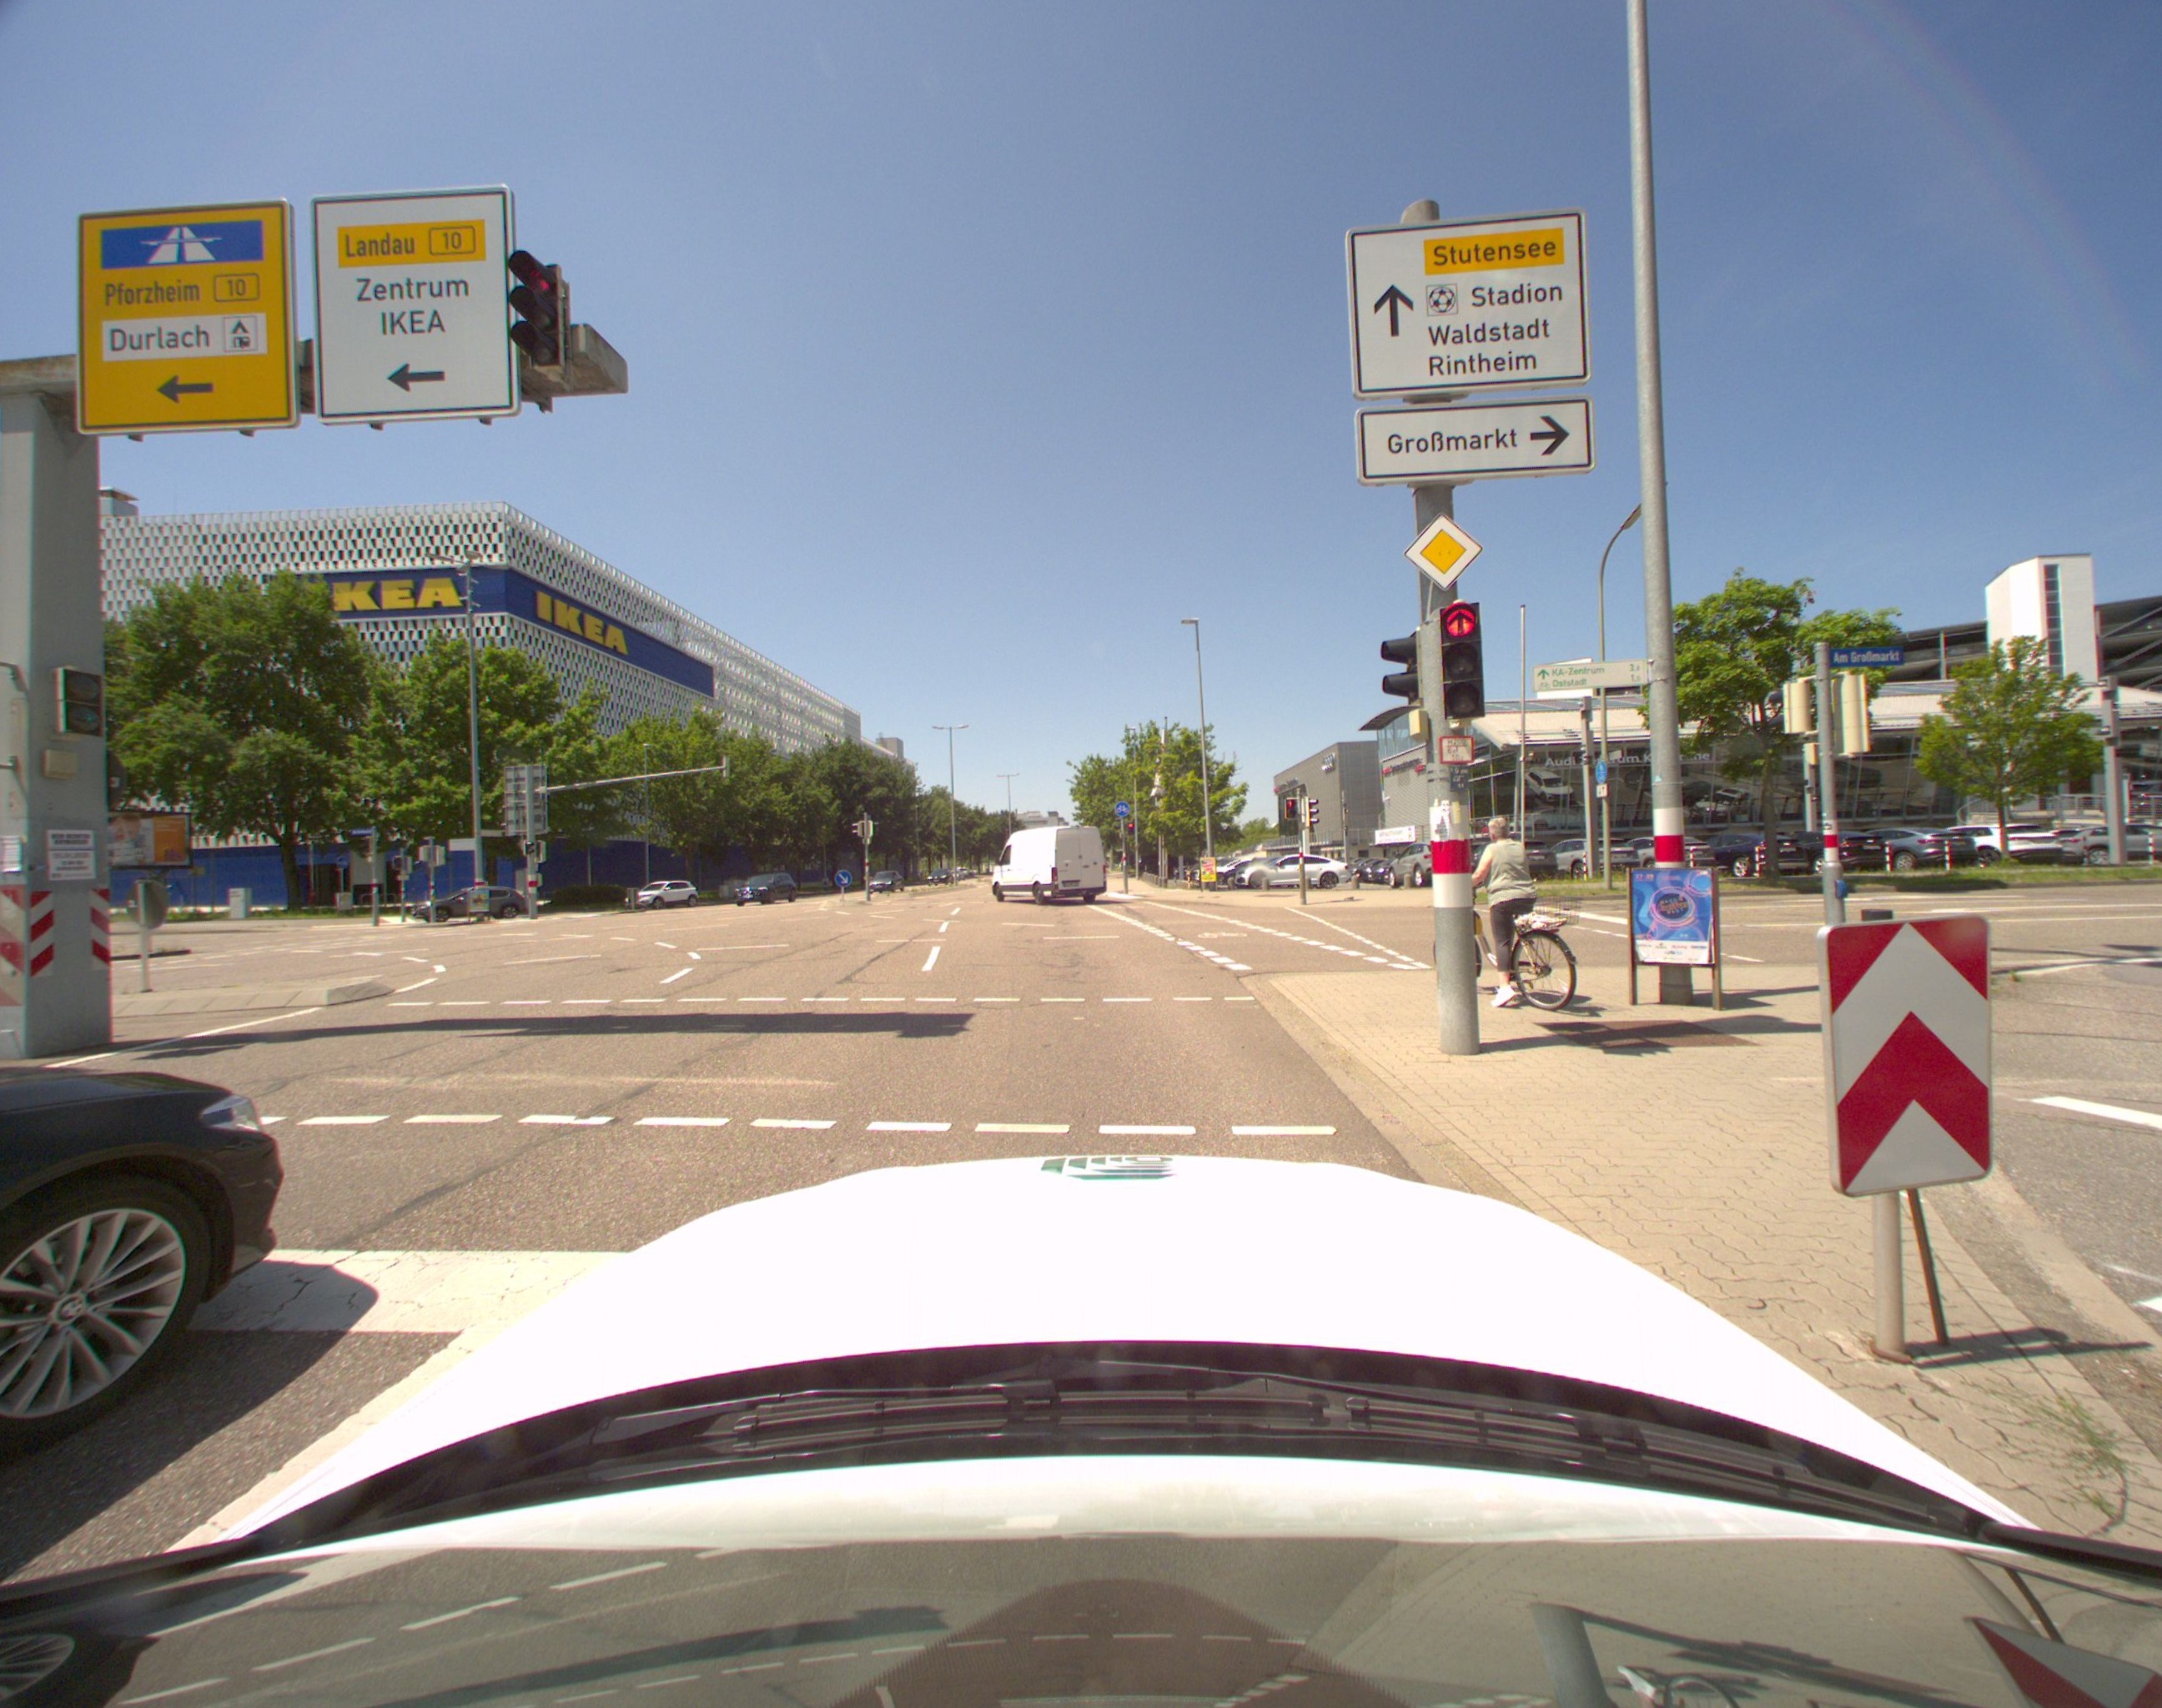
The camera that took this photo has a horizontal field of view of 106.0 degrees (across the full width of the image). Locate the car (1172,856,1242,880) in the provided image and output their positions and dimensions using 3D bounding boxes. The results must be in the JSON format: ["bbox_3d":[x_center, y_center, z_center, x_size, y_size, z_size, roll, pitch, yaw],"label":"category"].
[{"bbox_3d":[9.045,0.981,58.757,4.726,1.457,2.000,-3,0,0],"label":"car"}]

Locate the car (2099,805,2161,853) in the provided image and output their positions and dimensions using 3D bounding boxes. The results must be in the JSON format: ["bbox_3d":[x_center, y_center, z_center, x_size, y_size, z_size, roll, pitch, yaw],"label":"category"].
[{"bbox_3d":[47.346,-1.138,35.252,3.728,2.014,1.866,-2,-1,11],"label":"car"}]

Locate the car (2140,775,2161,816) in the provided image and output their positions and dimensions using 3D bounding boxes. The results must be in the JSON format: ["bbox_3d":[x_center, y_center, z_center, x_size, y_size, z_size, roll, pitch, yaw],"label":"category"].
[{"bbox_3d":[55.056,-3.012,39.531,1.989,2.013,3.995,-2,-1,-4],"label":"car"}]

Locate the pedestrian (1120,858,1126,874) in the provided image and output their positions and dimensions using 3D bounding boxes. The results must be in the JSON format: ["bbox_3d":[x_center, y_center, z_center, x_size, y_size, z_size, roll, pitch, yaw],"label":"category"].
[{"bbox_3d":[5.273,1.452,102.004,0.660,1.963,0.759,-2,-1,1],"label":"pedestrian"}]

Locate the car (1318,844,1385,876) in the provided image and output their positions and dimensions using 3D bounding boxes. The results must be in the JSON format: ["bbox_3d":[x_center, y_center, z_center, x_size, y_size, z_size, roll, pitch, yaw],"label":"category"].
[{"bbox_3d":[18.741,0.418,56.499,3.971,2.014,2.001,-2,-1,2],"label":"car"}]

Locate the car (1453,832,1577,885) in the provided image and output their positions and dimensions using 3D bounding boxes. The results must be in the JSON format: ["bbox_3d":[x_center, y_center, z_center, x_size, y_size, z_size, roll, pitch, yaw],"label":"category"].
[{"bbox_3d":[15.093,0.143,28.649,1.986,1.639,4.559,-2,0,2],"label":"car"}]

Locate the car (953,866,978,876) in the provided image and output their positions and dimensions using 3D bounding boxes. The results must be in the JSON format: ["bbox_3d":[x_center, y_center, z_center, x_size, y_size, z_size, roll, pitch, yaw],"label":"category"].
[{"bbox_3d":[-21.232,3.100,149.668,3.985,1.810,2.009,0,0,16],"label":"car"}]

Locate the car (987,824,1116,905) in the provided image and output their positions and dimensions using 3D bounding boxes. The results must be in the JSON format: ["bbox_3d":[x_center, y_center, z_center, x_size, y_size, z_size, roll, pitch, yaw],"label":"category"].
[{"bbox_3d":[-1.190,0.373,28.278,2.108,2.534,5.747,-1,-1,-28],"label":"car"}]

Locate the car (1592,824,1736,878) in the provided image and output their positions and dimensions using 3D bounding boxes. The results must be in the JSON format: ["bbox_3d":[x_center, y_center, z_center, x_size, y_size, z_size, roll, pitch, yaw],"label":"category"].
[{"bbox_3d":[20.341,-0.105,28.672,1.878,1.639,4.526,-3,0,2],"label":"car"}]

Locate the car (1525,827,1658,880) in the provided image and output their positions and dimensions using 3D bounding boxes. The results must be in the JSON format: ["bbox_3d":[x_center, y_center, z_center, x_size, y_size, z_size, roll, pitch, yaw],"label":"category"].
[{"bbox_3d":[17.944,-0.017,28.895,1.986,1.639,4.443,-3,0,2],"label":"car"}]

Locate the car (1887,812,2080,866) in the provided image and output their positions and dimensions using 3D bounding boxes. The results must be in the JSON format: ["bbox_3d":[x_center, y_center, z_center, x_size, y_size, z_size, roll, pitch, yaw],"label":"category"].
[{"bbox_3d":[31.250,-0.491,28.441,1.821,1.639,4.476,-3,0,2],"label":"car"}]

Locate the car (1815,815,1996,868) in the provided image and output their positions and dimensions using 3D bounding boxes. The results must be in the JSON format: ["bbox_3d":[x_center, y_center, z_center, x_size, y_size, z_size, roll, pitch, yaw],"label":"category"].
[{"bbox_3d":[28.569,-0.403,28.463,1.821,1.639,4.476,-3,0,2],"label":"car"}]

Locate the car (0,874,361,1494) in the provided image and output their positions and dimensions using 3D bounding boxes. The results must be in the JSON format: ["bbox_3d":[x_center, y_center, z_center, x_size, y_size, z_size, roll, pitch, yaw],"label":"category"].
[{"bbox_3d":[-3.528,0.816,0.607,1.793,1.466,4.623,-1,0,1],"label":"car"}]

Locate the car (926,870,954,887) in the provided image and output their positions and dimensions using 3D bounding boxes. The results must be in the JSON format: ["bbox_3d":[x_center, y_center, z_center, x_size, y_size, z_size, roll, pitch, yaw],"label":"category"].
[{"bbox_3d":[-12.809,2.225,74.085,1.678,1.411,3.666,-3,-1,2],"label":"car"}]

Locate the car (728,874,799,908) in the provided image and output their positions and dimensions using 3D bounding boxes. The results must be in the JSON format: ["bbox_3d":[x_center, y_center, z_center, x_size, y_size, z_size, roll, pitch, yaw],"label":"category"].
[{"bbox_3d":[-16.753,1.925,43.211,1.868,1.598,4.498,-3,-1,2],"label":"car"}]

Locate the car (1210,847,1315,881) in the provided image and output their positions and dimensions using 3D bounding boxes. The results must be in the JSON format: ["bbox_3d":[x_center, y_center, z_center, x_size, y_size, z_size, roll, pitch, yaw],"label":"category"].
[{"bbox_3d":[8.804,0.459,39.868,4.721,1.457,2.002,-2,0,3],"label":"car"}]

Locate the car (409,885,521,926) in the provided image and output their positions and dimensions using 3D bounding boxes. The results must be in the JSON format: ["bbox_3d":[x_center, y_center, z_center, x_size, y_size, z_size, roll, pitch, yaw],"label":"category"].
[{"bbox_3d":[-27.952,2.306,37.014,1.753,1.533,3.777,-4,-1,42],"label":"car"}]

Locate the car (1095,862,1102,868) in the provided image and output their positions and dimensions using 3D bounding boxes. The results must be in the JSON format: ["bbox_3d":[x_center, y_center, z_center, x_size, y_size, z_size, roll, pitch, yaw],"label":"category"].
[{"bbox_3d":[4.928,3.037,224.649,1.765,1.728,4.001,-3,-1,2],"label":"car"}]

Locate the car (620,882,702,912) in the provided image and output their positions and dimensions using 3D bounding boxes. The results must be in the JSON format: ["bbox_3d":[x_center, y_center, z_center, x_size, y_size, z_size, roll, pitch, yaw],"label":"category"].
[{"bbox_3d":[-23.285,2.370,45.338,1.609,1.457,4.088,-3,-1,17],"label":"car"}]

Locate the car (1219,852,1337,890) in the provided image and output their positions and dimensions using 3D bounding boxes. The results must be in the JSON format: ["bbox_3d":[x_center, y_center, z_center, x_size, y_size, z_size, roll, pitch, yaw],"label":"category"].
[{"bbox_3d":[8.563,0.736,35.785,4.721,1.457,2.002,-2,-2,3],"label":"car"}]

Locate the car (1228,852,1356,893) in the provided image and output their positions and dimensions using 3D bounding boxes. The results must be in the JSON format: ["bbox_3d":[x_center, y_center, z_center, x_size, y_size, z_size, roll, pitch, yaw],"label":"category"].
[{"bbox_3d":[8.511,0.735,33.184,4.721,1.457,2.002,-2,0,3],"label":"car"}]

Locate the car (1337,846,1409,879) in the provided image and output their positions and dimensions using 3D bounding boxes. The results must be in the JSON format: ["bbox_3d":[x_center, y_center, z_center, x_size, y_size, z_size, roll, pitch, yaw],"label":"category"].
[{"bbox_3d":[19.338,0.568,54.065,3.971,2.014,2.001,-2,-1,2],"label":"car"}]

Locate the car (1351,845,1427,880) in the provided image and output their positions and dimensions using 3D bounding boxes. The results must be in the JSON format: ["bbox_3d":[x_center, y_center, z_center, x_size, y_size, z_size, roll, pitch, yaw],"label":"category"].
[{"bbox_3d":[19.315,0.513,51.248,3.971,2.014,2.001,-2,-1,2],"label":"car"}]

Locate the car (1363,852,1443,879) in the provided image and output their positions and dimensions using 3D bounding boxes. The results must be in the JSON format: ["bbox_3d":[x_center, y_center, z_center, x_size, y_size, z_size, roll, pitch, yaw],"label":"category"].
[{"bbox_3d":[19.295,0.651,48.904,4.076,1.460,1.720,-2,0,2],"label":"car"}]

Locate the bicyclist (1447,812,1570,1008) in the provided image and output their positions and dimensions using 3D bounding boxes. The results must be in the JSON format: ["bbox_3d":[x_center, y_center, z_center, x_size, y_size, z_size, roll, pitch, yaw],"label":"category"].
[{"bbox_3d":[4.029,0.501,7.726,0.732,1.749,0.753,-1,0,-3],"label":"bicyclist"}]

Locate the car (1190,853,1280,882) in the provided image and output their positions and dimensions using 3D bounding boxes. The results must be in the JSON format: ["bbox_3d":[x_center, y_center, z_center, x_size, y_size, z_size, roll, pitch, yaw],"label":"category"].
[{"bbox_3d":[8.752,0.735,46.489,4.726,1.457,2.000,-2,0,0],"label":"car"}]

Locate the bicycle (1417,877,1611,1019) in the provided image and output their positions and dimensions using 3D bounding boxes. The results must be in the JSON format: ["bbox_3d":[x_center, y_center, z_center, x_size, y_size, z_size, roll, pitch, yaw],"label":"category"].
[{"bbox_3d":[4.059,0.818,7.841,0.784,1.127,1.919,-1,0,-2],"label":"bicycle"}]

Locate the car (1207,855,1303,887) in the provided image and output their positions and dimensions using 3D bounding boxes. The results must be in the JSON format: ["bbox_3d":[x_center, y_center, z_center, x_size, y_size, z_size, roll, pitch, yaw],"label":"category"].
[{"bbox_3d":[9.283,0.886,43.691,4.726,1.457,2.000,-2,0,0],"label":"car"}]

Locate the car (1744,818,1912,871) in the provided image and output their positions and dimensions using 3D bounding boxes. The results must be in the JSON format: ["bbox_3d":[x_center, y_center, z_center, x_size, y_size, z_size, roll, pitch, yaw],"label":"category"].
[{"bbox_3d":[25.922,-0.309,28.511,1.821,1.639,4.476,-3,0,2],"label":"car"}]

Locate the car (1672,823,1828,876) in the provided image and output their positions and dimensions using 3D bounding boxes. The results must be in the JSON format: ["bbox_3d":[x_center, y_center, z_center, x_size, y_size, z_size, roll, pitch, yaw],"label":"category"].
[{"bbox_3d":[23.211,-0.153,28.513,1.821,1.639,4.476,-3,0,2],"label":"car"}]

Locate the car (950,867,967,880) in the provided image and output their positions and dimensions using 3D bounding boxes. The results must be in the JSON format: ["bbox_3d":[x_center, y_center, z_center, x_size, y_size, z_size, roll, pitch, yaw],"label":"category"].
[{"bbox_3d":[-16.089,2.560,107.106,1.645,1.653,4.160,-2,-1,-2],"label":"car"}]

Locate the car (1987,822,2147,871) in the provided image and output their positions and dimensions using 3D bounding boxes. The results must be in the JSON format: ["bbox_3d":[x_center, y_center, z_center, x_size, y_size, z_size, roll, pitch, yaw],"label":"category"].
[{"bbox_3d":[40.091,-0.291,33.246,3.720,1.772,1.781,-3,-1,32],"label":"car"}]

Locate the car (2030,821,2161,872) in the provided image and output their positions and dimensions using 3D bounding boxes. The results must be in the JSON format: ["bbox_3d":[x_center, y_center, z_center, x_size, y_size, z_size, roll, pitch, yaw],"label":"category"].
[{"bbox_3d":[39.068,-0.273,30.832,3.665,1.777,1.759,-3,-1,28],"label":"car"}]

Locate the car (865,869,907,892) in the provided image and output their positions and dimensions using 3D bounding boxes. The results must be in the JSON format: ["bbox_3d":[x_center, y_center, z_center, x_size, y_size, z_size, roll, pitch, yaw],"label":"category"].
[{"bbox_3d":[-13.136,1.754,55.017,1.725,1.427,3.707,-3,-1,2],"label":"car"}]

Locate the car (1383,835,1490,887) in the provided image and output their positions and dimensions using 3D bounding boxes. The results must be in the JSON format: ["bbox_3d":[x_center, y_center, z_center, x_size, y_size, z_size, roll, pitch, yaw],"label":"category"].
[{"bbox_3d":[12.454,0.218,28.835,1.986,1.639,4.270,-2,0,2],"label":"car"}]

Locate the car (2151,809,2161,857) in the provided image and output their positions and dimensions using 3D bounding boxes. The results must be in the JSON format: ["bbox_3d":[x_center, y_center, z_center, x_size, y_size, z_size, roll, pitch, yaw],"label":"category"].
[{"bbox_3d":[39.465,-0.811,26.867,4.705,1.639,1.844,-3,0,24],"label":"car"}]
